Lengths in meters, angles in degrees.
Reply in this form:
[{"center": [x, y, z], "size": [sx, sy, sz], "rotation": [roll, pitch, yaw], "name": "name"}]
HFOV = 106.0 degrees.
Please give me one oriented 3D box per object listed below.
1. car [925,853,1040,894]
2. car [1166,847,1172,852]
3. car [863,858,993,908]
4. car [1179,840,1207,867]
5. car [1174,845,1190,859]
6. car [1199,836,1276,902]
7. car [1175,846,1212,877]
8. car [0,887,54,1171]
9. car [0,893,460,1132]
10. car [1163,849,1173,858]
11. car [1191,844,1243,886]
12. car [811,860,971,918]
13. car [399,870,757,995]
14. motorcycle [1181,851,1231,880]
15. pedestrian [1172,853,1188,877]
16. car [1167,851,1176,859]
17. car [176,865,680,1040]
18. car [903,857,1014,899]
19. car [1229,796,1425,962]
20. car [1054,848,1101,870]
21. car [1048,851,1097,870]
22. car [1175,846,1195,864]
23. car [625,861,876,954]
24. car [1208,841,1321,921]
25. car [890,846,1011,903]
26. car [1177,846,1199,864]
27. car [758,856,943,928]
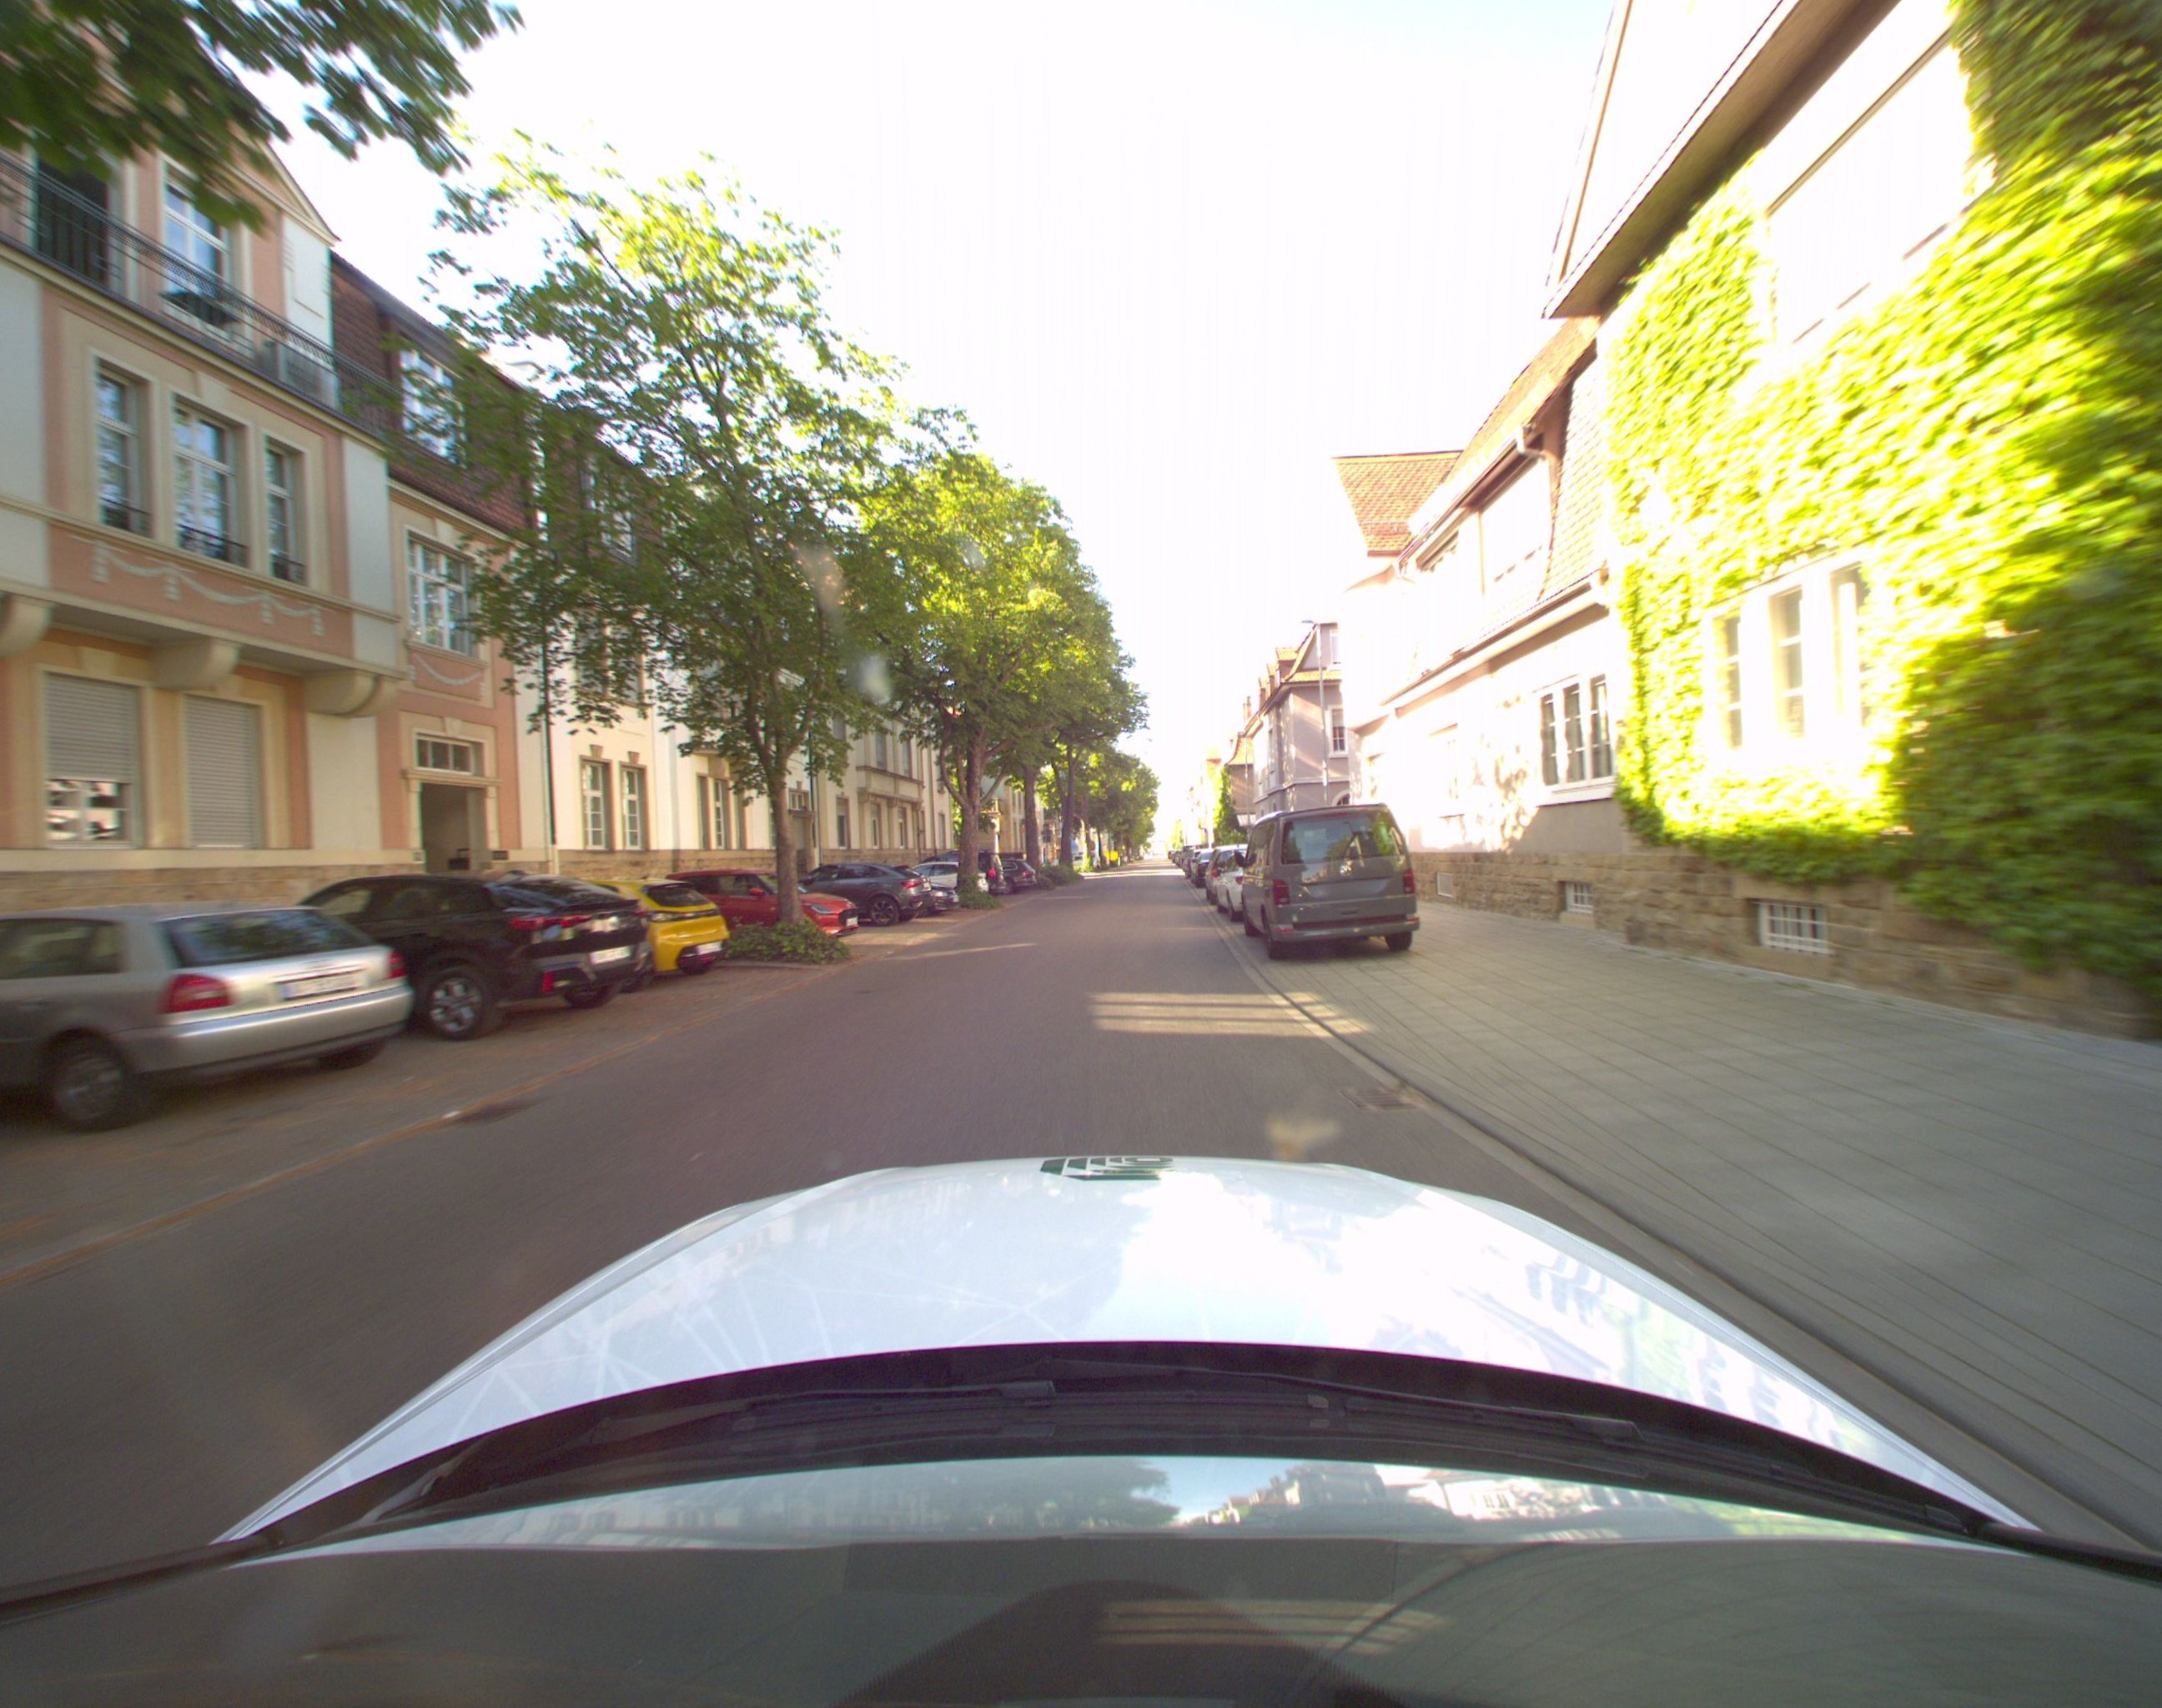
[{"center": [-4.126, 0.808, 34.680], "size": [4.512, 1.503, 1.894], "rotation": [-2, 0, 4], "name": "car"}, {"center": [26.596, -1.373, 245.715], "size": [1.762, 1.631, 3.873], "rotation": [-3, 0, 7], "name": "car"}, {"center": [-5.101, 0.958, 27.520], "size": [3.972, 1.448, 1.742], "rotation": [-2, 0, 1], "name": "car"}, {"center": [8.925, -0.044, 65.226], "size": [1.895, 1.870, 4.681], "rotation": [-6, 0, 5], "name": "car"}, {"center": [12.405, -0.290, 100.106], "size": [1.762, 1.631, 3.873], "rotation": [-3, 0, 7], "name": "car"}, {"center": [4.465, 0.365, 23.724], "size": [1.780, 1.600, 4.008], "rotation": [-5, 1, 6], "name": "car"}, {"center": [6.327, 0.375, 46.071], "size": [1.692, 1.539, 4.160], "rotation": [-5, 0, 4], "name": "car"}, {"center": [-7.857, 1.063, 3.910], "size": [3.966, 1.508, 1.725], "rotation": [-4, 0, 6], "name": "car"}, {"center": [-7.362, 1.082, 6.209], "size": [3.966, 1.403, 1.833], "rotation": [-1, 0, 6], "name": "car"}, {"center": [16.519, -0.070, 154.334], "size": [1.762, 1.631, 3.873], "rotation": [-3, 0, 7], "name": "car"}, {"center": [5.648, 0.424, 34.305], "size": [1.845, 1.493, 4.616], "rotation": [-4, 0, 6], "name": "car"}, {"center": [-5.245, 0.945, 22.718], "size": [3.878, 1.446, 1.864], "rotation": [-2, 0, 10], "name": "car"}, {"center": [-6.731, 1.019, 11.156], "size": [3.770, 1.462, 1.867], "rotation": [-2, 0, 6], "name": "car"}, {"center": [5.922, 0.543, 38.604], "size": [2.188, 1.339, 0.920], "rotation": [-1, 1, -3], "name": "motorcycle"}, {"center": [5.521, 0.620, 45.284], "size": [0.722, 1.257, 0.646], "rotation": [-3, 0, -2], "name": "pedestrian"}, {"center": [20.285, 0.143, 182.721], "size": [1.762, 1.631, 3.873], "rotation": [-3, 0, 7], "name": "car"}, {"center": [-6.705, 0.964, 8.637], "size": [3.966, 1.566, 1.867], "rotation": [-2, 0, 6], "name": "car"}, {"center": [-4.790, 0.922, 32.225], "size": [3.963, 1.437, 1.830], "rotation": [-2, 0, 3], "name": "car"}, {"center": [3.459, 0.297, 12.445], "size": [1.856, 1.916, 4.790], "rotation": [-5, 0, 6], "name": "car"}, {"center": [-0.275, 0.415, 69.452], "size": [3.972, 1.761, 1.799], "rotation": [-1, 0, 1], "name": "car"}, {"center": [-0.686, 0.530, 67.137], "size": [3.972, 1.464, 1.798], "rotation": [-1, -1, 1], "name": "car"}, {"center": [9.924, 0.099, 77.558], "size": [1.780, 1.618, 3.873], "rotation": [-3, 0, 7], "name": "car"}, {"center": [-6.114, 0.965, 15.332], "size": [3.968, 1.514, 1.750], "rotation": [-2, -1, 5], "name": "car"}, {"center": [3.931, 0.518, 18.161], "size": [1.672, 1.457, 4.442], "rotation": [-3, 0, 3], "name": "car"}, {"center": [-4.733, 0.728, 29.909], "size": [3.962, 1.855, 1.831], "rotation": [-2, 0, 4], "name": "car"}, {"center": [9.440, 0.080, 72.046], "size": [1.682, 1.398, 3.811], "rotation": [-6, 0, 5], "name": "car"}, {"center": [-5.637, 0.904, 20.231], "size": [3.968, 1.592, 1.862], "rotation": [-2, 0, 4], "name": "car"}]
